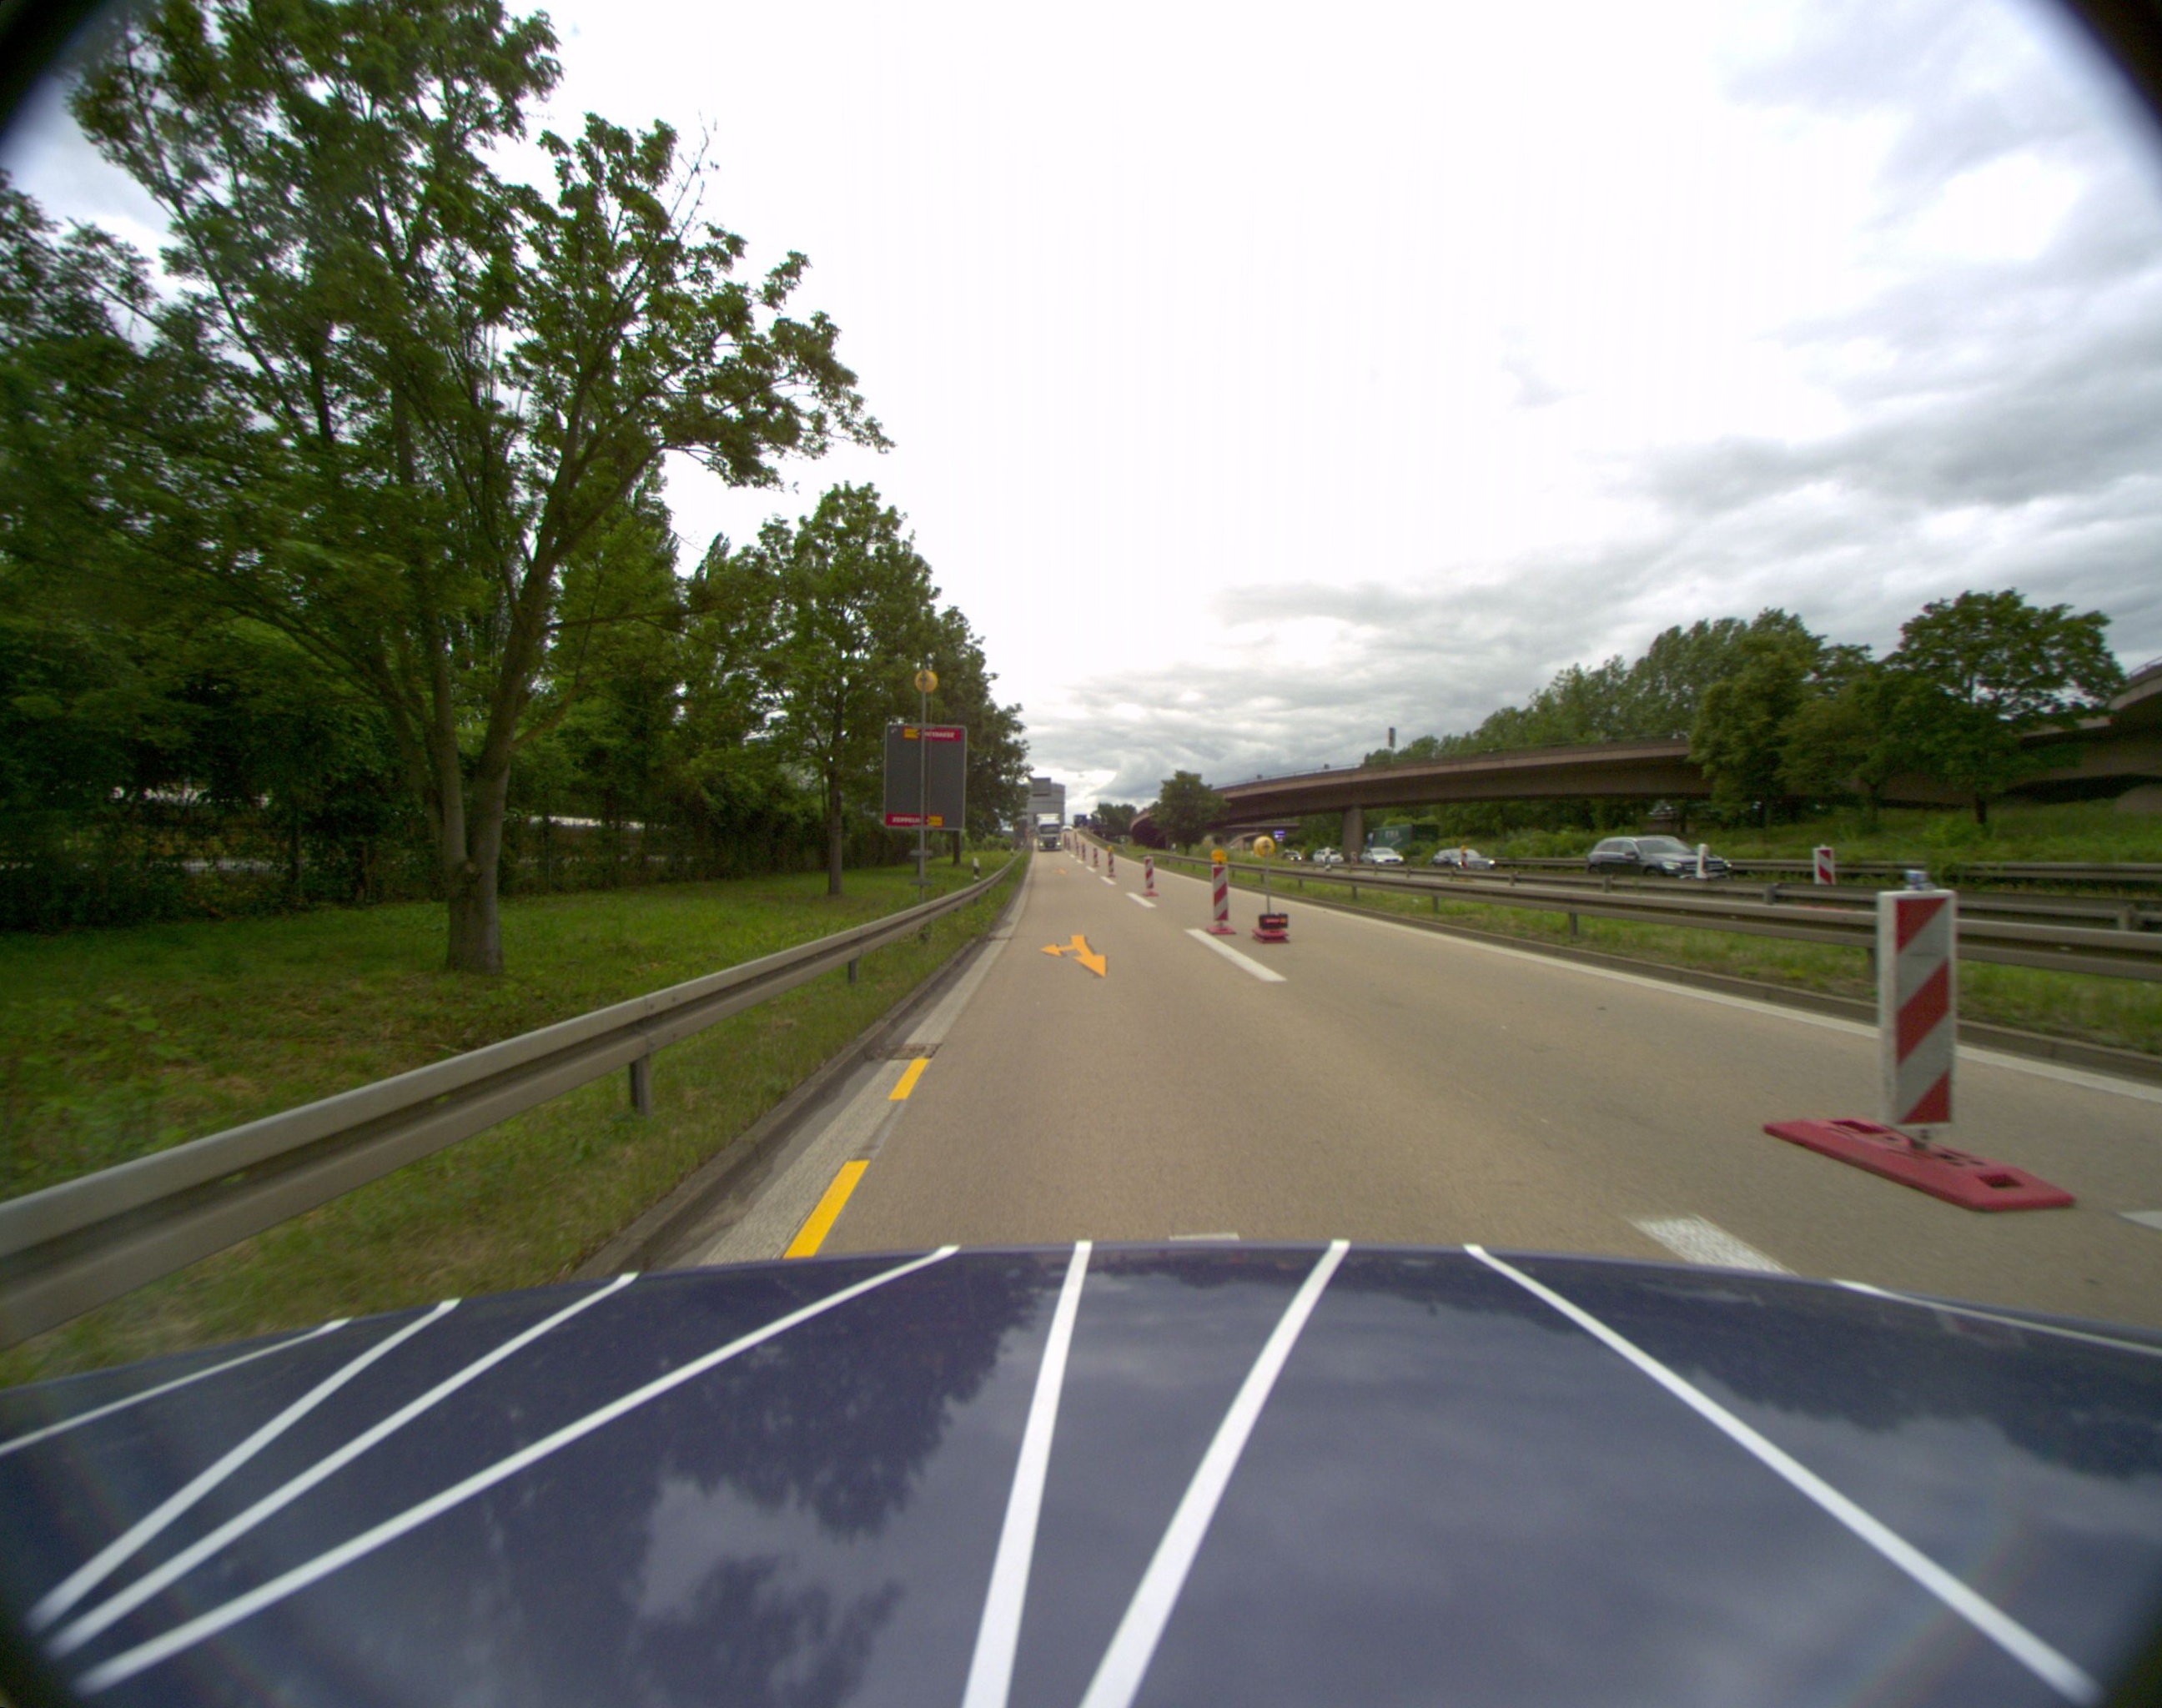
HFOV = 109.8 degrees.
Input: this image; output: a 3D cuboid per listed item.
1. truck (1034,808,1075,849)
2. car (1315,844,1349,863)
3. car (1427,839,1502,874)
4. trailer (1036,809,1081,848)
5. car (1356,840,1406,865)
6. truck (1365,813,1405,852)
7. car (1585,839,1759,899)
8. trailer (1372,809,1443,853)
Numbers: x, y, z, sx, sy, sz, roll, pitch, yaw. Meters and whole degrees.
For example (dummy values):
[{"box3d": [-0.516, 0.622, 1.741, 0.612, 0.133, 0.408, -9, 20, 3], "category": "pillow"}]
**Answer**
[{"box3d": [-2.877, -2.818, 85.365, 4.164, 4.279, 5.964, -1, 1, 2], "category": "truck"}, {"box3d": [22.438, -0.054, 68.023, 2.041, 1.606, 4.295, -1, 1, 6], "category": "car"}, {"box3d": [19.303, 0.086, 38.455, 2.041, 1.606, 4.295, -1, 1, 6], "category": "car"}, {"box3d": [-2.488, -2.964, 91.928, 4.124, 4.220, 13.892, -1, 1, 4], "category": "trailer"}, {"box3d": [20.140, -0.129, 51.145, 2.041, 1.606, 4.295, -1, 1, 6], "category": "car"}, {"box3d": [35.265, -2.469, 88.333, 2.758, 4.248, 5.504, -1, 1, 5], "category": "truck"}, {"box3d": [17.448, 0.368, 22.792, 2.041, 1.606, 4.579, -1, 1, 6], "category": "car"}, {"box3d": [34.598, -2.345, 81.170, 2.777, 4.270, 13.982, -1, 1, 5], "category": "trailer"}]
